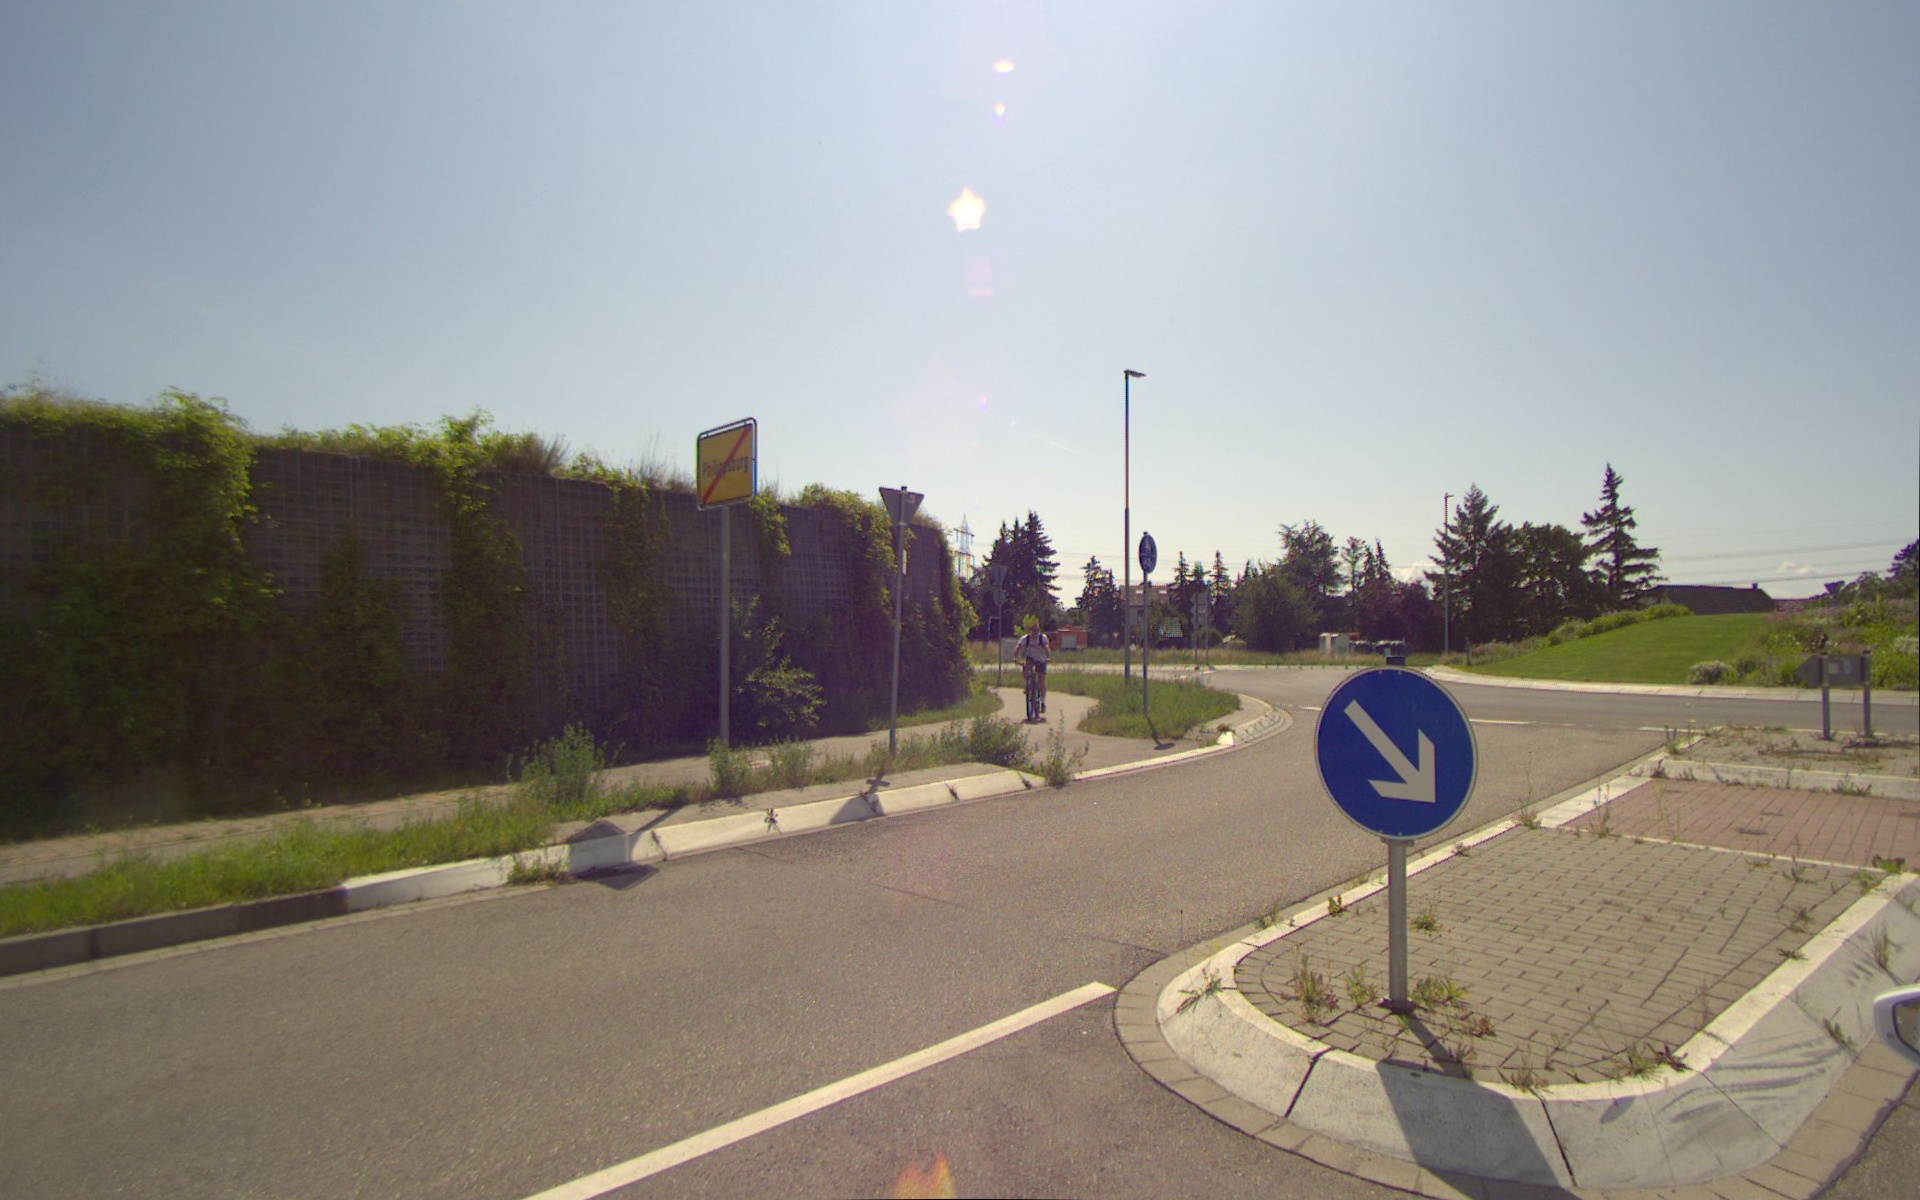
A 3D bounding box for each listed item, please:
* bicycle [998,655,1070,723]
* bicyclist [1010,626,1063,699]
[{"bbox_3d":[1.406,1.624,18.700,0.739,1.130,2.045,-2,-2,21],"label":"bicycle"},{"bbox_3d":[1.438,1.156,18.817,0.739,1.314,0.903,-2,-2,22],"label":"bicyclist"}]
